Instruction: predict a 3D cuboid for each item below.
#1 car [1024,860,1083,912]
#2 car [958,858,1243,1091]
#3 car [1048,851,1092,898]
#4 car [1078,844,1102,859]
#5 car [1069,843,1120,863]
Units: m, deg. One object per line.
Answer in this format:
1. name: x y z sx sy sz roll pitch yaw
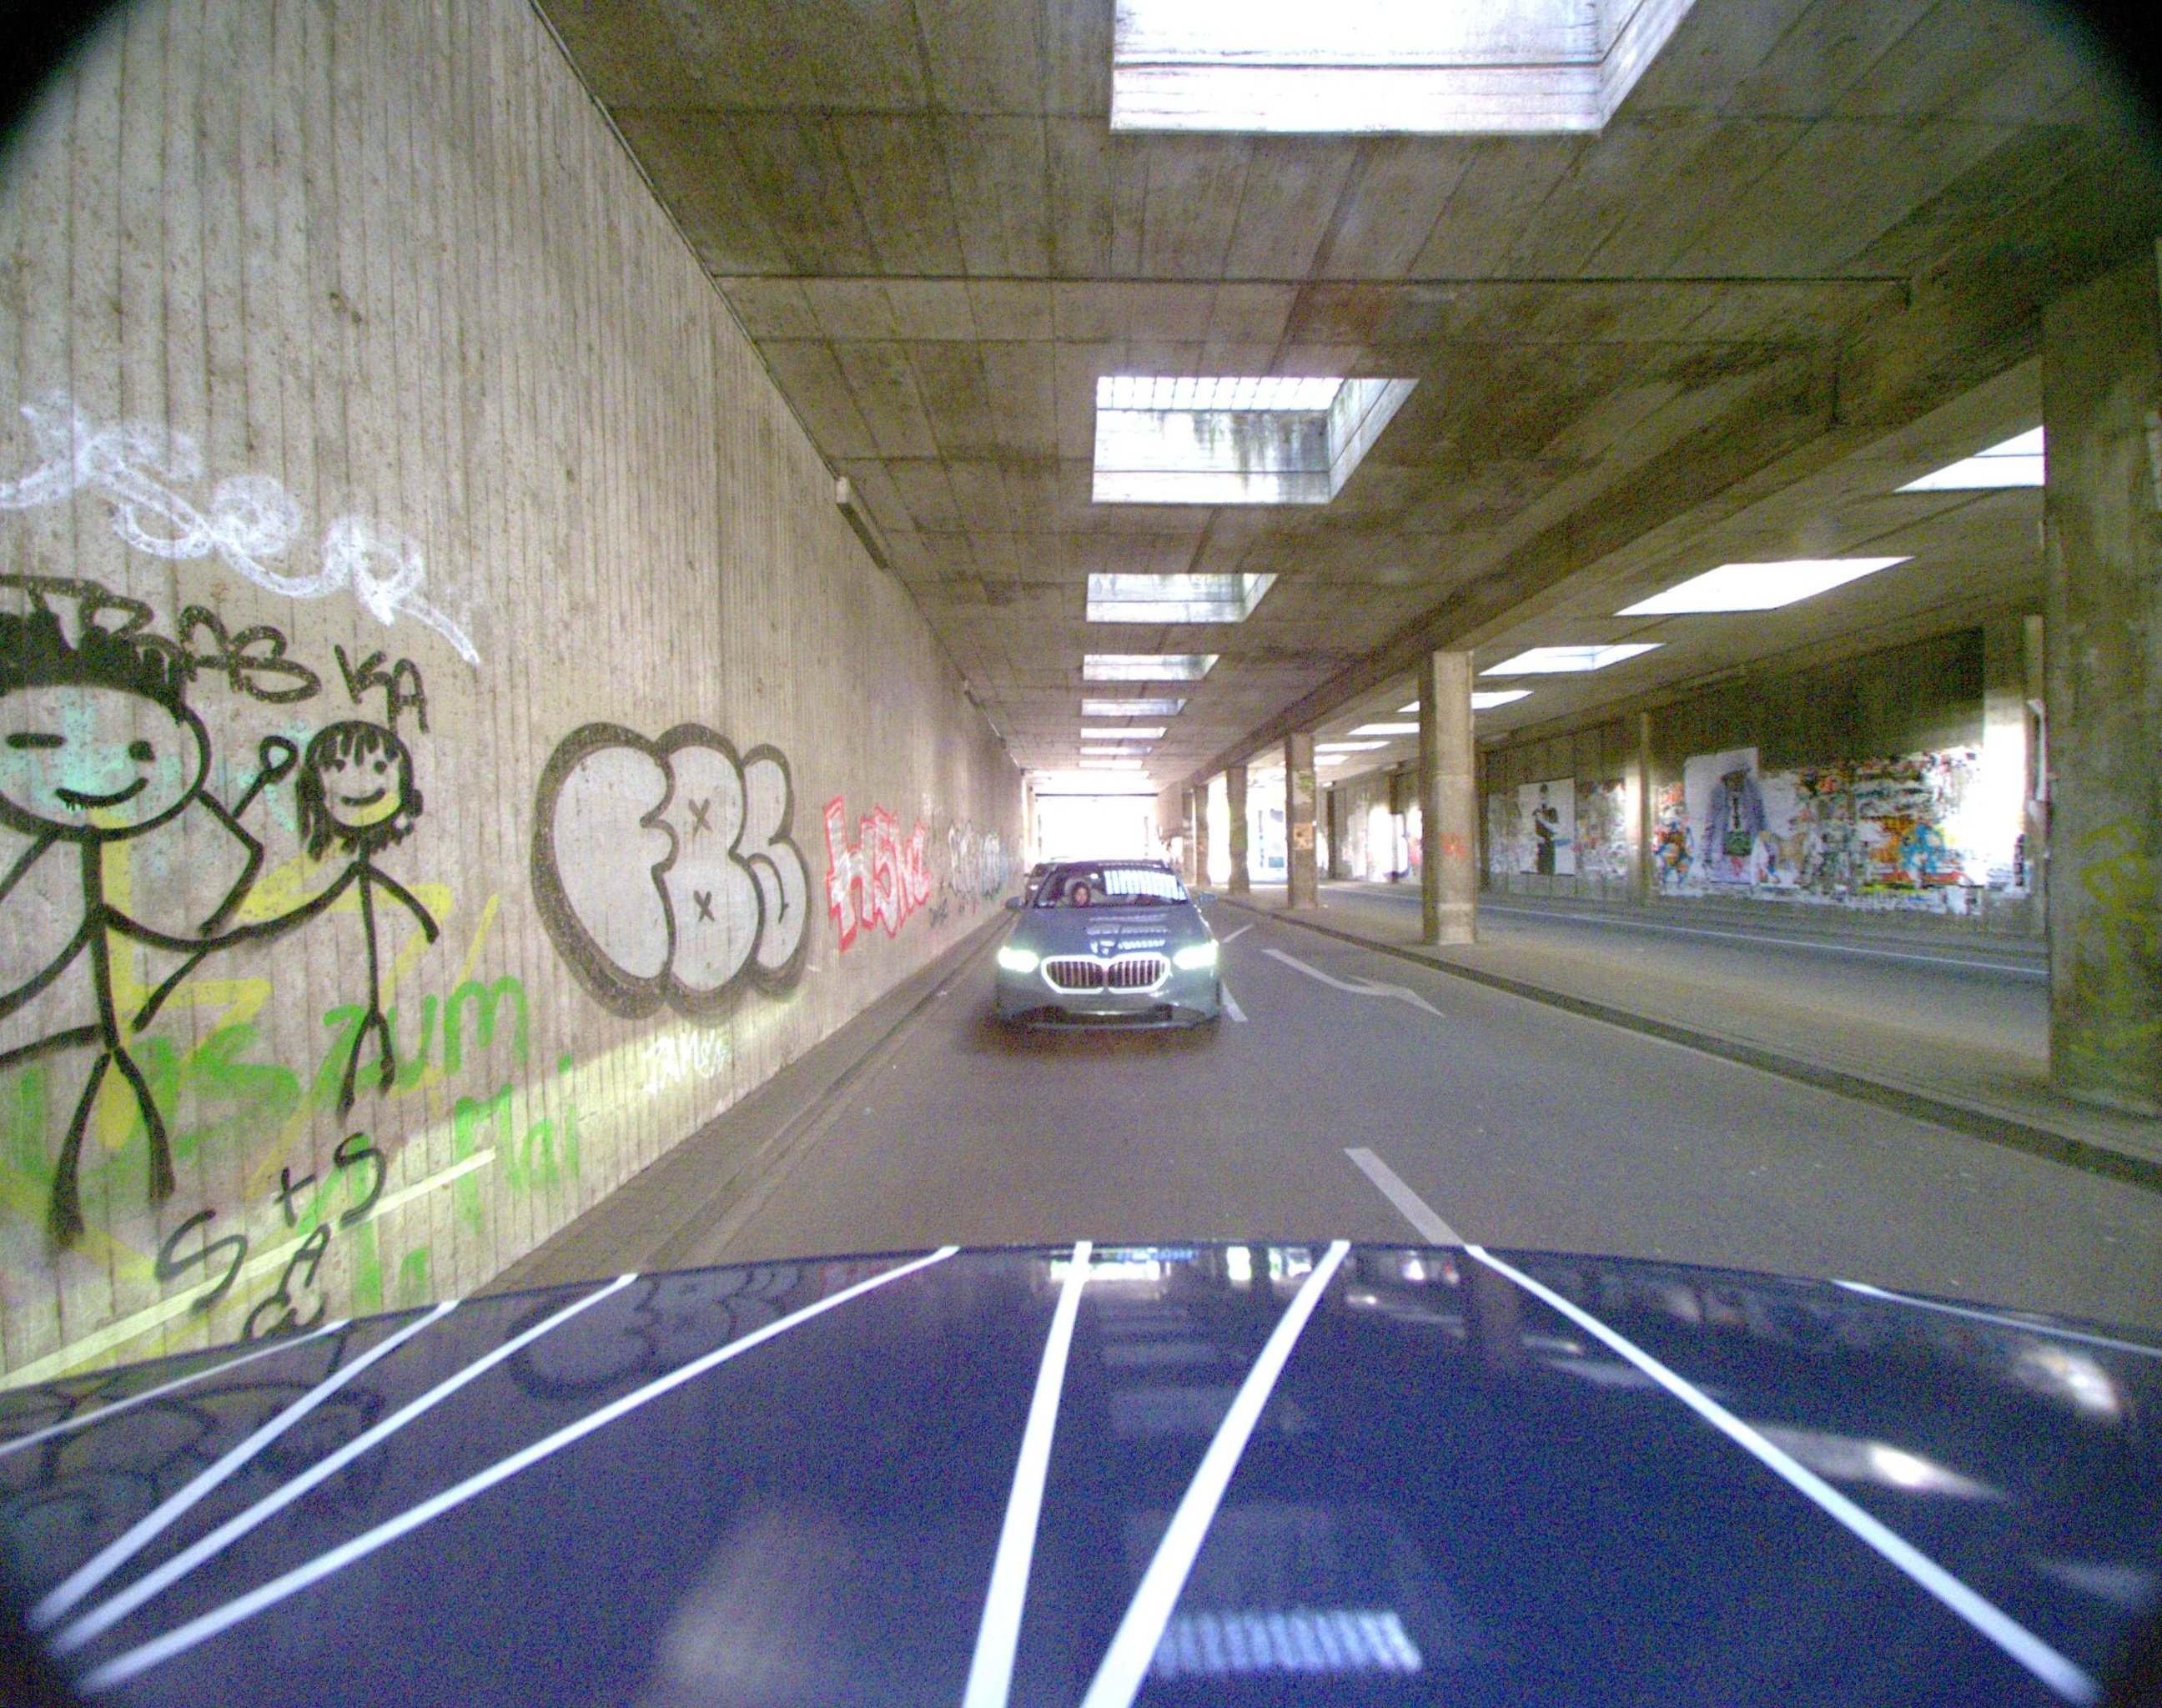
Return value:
1. car: -0.792 0.943 23.917 1.593 1.387 3.833 -2 0 1
2. car: 0.219 0.879 7.996 1.998 1.594 5.176 -1 0 2
3. car: -0.369 0.761 29.924 1.581 1.676 4.078 -2 0 1
4. car: 1.201 -0.358 103.567 2.361 2.002 5.146 -1 0 -8
5. car: 1.371 -0.075 79.243 5.147 2.002 2.360 -1 0 -1
